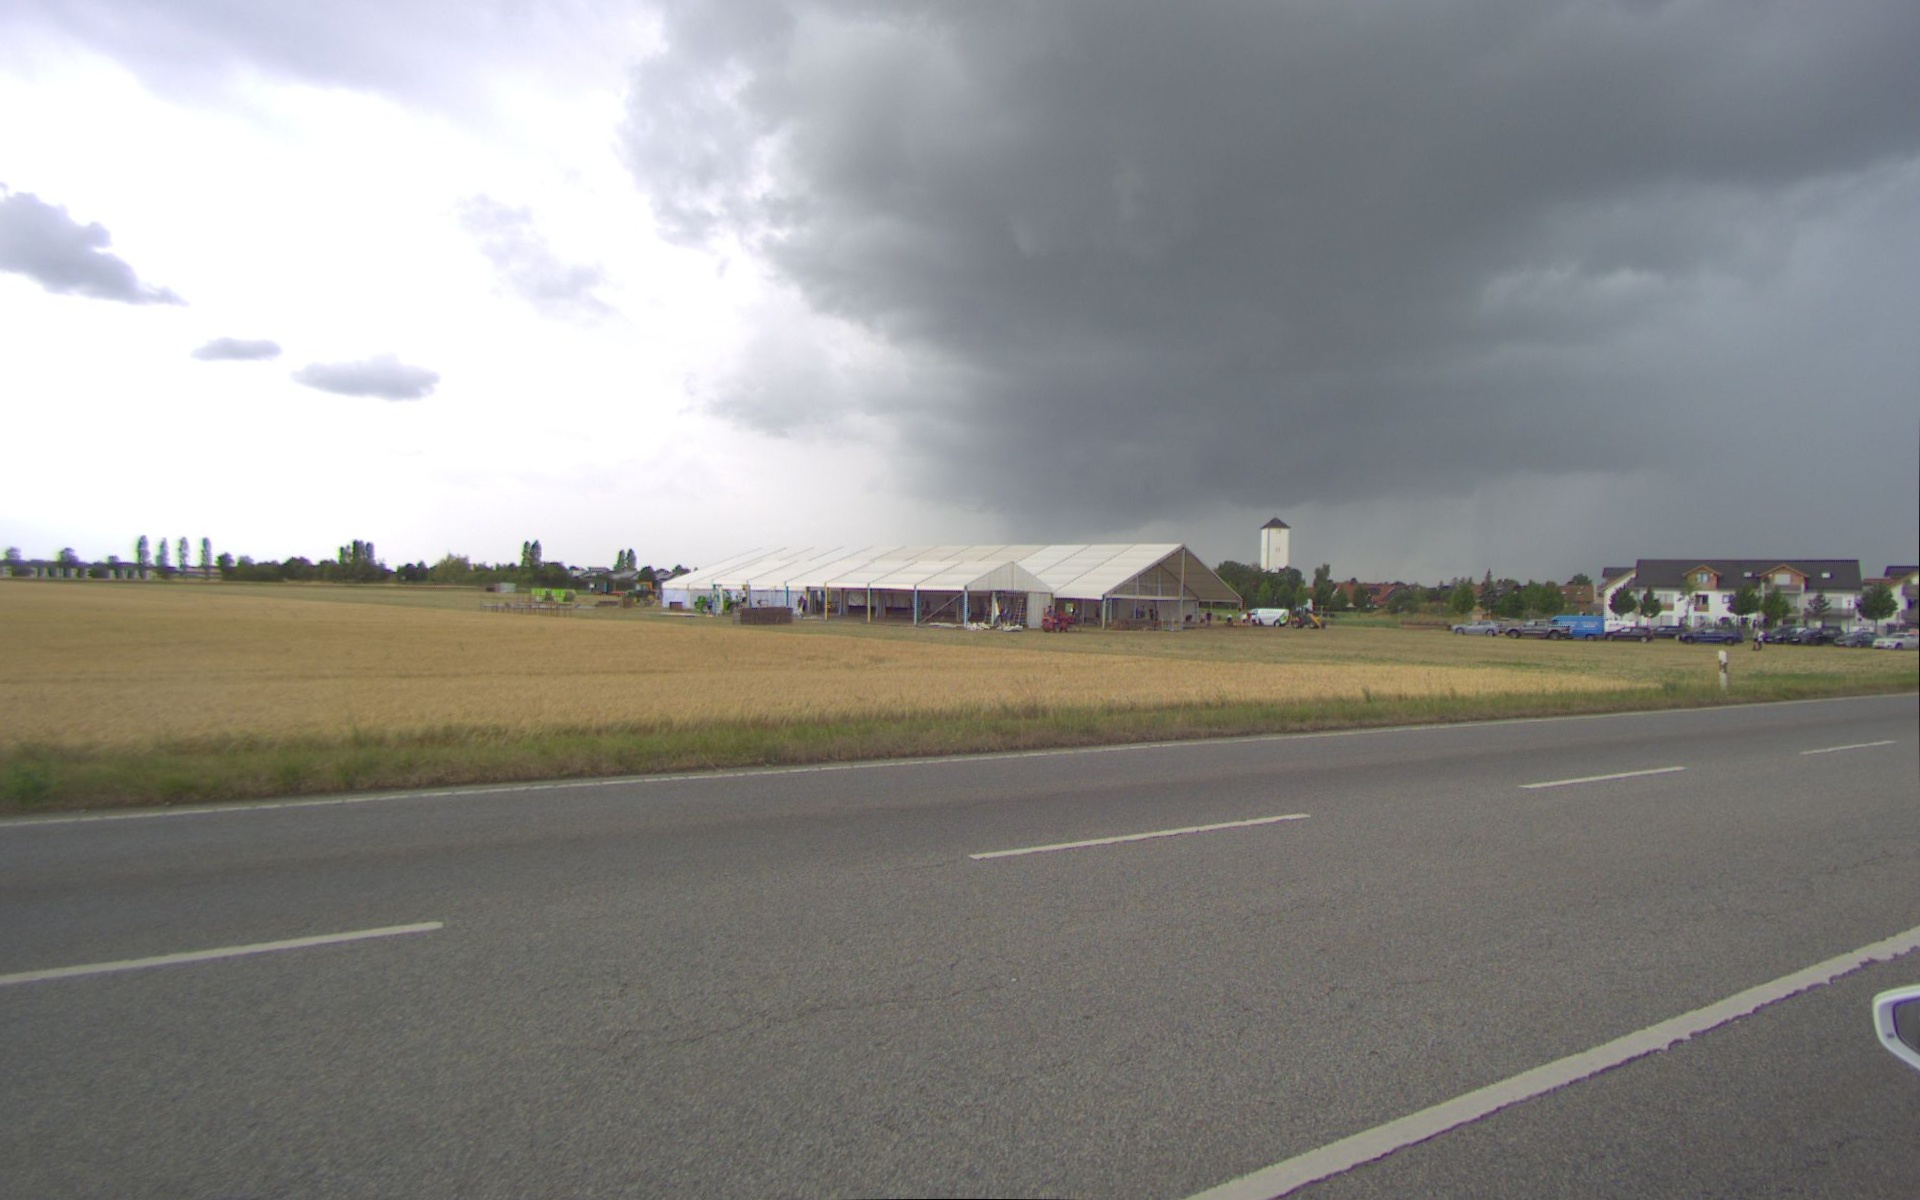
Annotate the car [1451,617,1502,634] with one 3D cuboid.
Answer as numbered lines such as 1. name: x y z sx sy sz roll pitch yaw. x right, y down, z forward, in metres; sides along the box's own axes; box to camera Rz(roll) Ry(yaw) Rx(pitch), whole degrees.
1. car: 50.494 2.512 98.157 4.235 1.481 1.886 1 0 33

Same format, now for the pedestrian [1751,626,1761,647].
1. pedestrian: 60.890 2.802 76.838 0.582 1.576 0.623 1 0 40

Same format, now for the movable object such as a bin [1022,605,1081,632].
1. movable object such as a bin: 6.967 1.416 76.390 2.555 1.889 4.458 1 0 36

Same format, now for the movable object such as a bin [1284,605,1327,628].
1. movable object such as a bin: 36.083 1.700 104.935 3.928 2.273 1.881 1 0 32

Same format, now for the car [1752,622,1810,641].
1. car: 76.190 2.956 93.242 4.139 1.650 1.995 1 0 -13

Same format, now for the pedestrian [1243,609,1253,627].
1. pedestrian: 29.862 1.891 104.143 0.690 1.799 0.681 1 0 -44

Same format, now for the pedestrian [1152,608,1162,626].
1. pedestrian: 19.305 1.663 98.560 0.646 1.767 0.724 1 0 39

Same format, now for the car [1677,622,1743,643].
1. car: 66.803 2.883 89.471 4.658 1.719 1.991 1 0 39

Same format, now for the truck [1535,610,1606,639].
1. truck: 56.686 2.261 93.269 5.377 2.478 2.385 1 0 37

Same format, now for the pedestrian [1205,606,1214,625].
1. pedestrian: 25.729 1.621 103.386 0.617 1.890 0.705 1 0 41

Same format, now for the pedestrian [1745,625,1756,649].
1. pedestrian: 59.986 2.776 76.212 0.673 1.809 0.543 1 0 -43

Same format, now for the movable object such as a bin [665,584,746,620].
1. movable object such as a bin: -25.381 0.187 100.207 7.464 3.219 4.141 2 0 39

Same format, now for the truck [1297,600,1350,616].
1. truck: 65.648 1.451 181.739 3.256 2.563 9.315 1 0 -25

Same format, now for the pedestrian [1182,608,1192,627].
1. pedestrian: 22.322 1.696 98.598 0.680 1.799 0.692 1 0 39

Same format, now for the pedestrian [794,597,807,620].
1. pedestrian: -14.173 0.734 89.334 1.005 2.040 0.806 1 0 -2

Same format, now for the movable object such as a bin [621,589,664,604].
1. movable object such as a bin: -45.736 -0.471 144.679 2.528 2.040 5.388 2 0 40

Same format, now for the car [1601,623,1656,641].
1. car: 62.026 2.949 93.190 4.105 1.539 1.991 1 0 39

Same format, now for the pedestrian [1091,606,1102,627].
1. pedestrian: 13.389 1.628 98.723 0.755 2.040 0.875 1 0 -12

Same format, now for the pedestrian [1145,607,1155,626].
1. pedestrian: 18.742 1.641 99.024 0.719 1.803 0.758 1 0 32

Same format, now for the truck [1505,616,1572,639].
1. truck: 52.776 2.483 91.636 5.154 1.946 2.107 1 0 33

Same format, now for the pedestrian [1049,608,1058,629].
1. pedestrian: 7.407 1.478 79.755 0.463 1.649 0.581 1 0 37

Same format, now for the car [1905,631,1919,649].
1. car: 79.046 3.261 81.166 4.139 1.465 1.995 1 0 -13

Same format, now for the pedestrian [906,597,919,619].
1. pedestrian: -4.716 0.785 100.187 0.930 2.130 0.860 1 0 -31

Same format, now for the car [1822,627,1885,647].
1. car: 76.899 3.198 86.464 4.139 1.556 1.995 1 0 -13

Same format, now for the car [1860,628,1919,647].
1. car: 77.826 3.116 83.844 4.139 1.465 1.995 1 0 -13

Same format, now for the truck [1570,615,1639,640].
1. truck: 62.656 2.645 97.695 5.493 2.226 2.598 1 0 37

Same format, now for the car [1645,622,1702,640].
1. car: 72.556 3.136 102.197 4.569 1.719 1.991 1 0 39

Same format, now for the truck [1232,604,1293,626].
1. truck: 33.429 1.699 110.969 5.959 2.246 2.714 1 0 32

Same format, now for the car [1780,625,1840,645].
1. car: 75.685 3.106 89.417 4.139 1.650 1.995 1 0 -13
